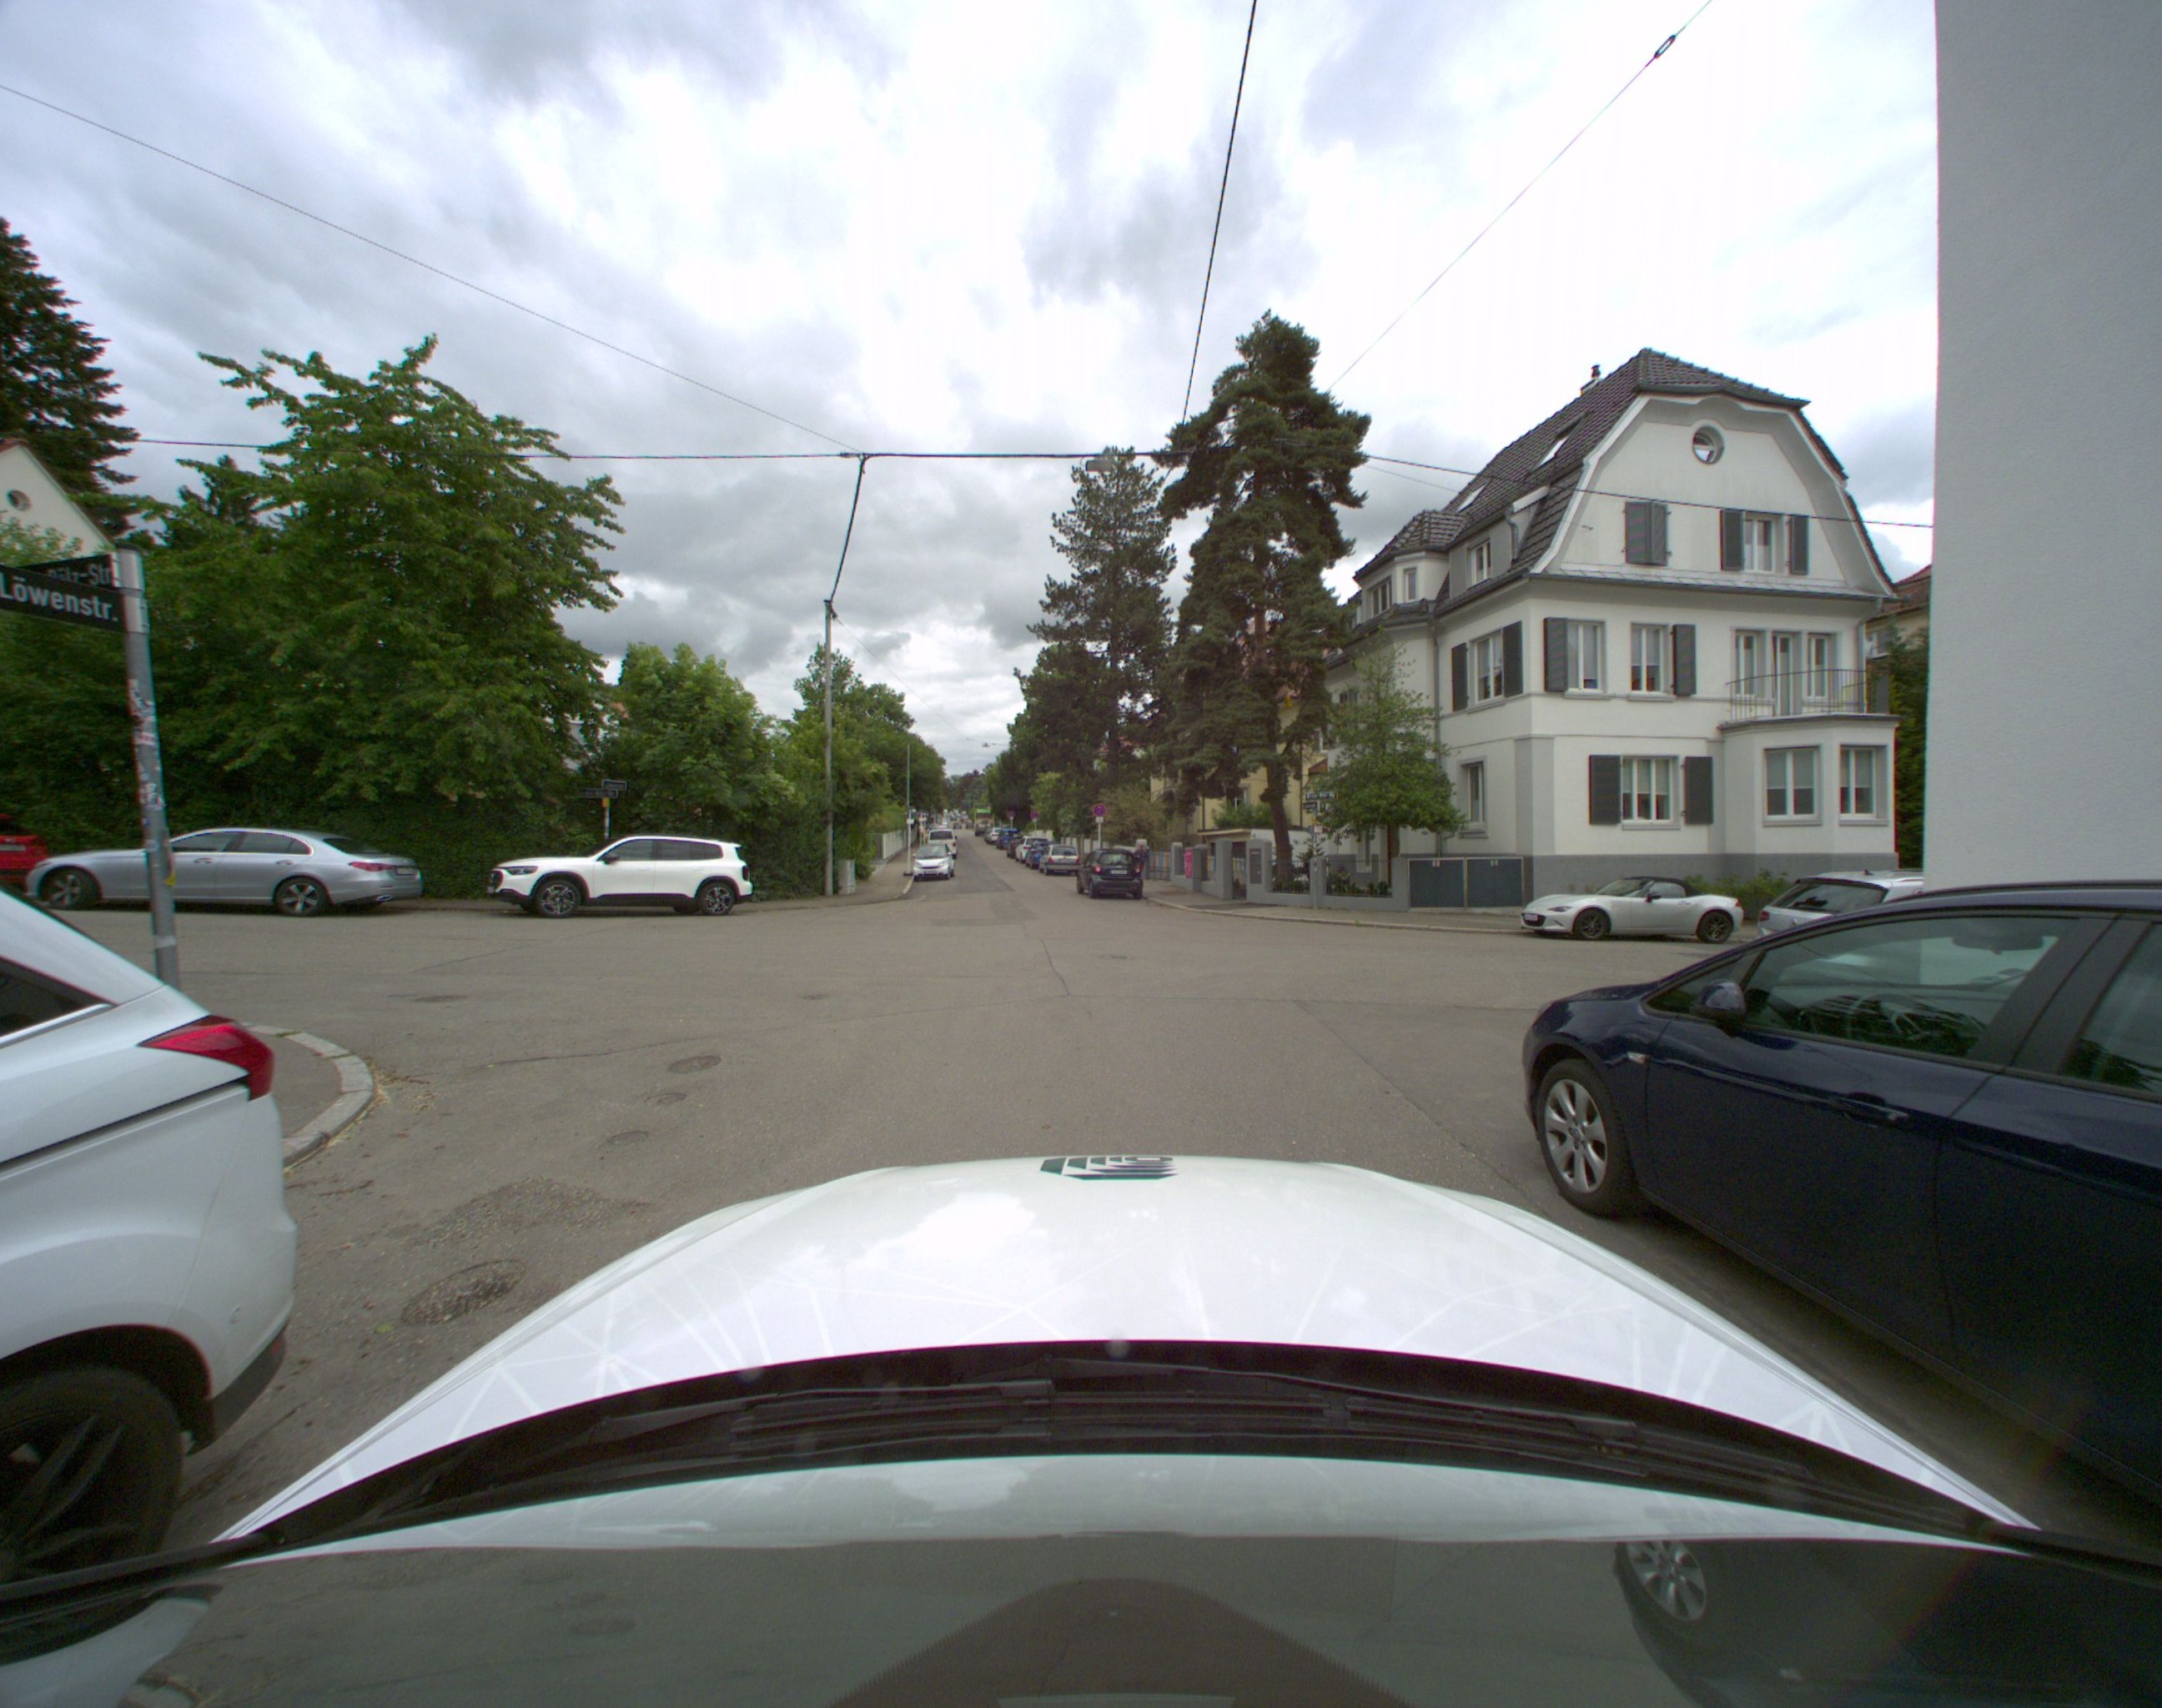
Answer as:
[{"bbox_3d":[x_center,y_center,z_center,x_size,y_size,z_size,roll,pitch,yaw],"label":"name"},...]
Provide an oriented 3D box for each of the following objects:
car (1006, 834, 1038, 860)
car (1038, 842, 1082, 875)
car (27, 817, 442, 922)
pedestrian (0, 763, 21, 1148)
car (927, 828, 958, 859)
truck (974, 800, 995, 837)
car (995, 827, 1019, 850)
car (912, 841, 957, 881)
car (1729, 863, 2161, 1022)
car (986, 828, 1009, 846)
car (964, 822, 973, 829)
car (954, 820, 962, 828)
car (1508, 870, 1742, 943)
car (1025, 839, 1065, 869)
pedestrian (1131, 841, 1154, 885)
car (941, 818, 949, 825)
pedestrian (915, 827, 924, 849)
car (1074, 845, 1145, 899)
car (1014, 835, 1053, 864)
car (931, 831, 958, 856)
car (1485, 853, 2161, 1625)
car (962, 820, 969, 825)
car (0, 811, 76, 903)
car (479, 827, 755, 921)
[{"bbox_3d":[-4.018,-0.501,55.254,1.750,1.607,4.063,2,1,-10],"label":"car"},{"bbox_3d":[-1.044,0.181,38.466,1.573,1.400,3.645,1,2,-9],"label":"car"},{"bbox_3d":[-14.078,0.274,13.909,4.508,1.437,1.825,4,0,-16],"label":"car"},{"bbox_3d":[-5.337,0.459,3.651,0.812,1.759,0.648,2,0,41],"label":"pedestrian"},{"bbox_3d":[-9.232,-0.750,54.551,1.854,1.913,4.605,-3,2,-9],"label":"car"},{"bbox_3d":[-13.062,-4.831,110.252,2.523,4.747,7.167,1,2,-9],"label":"truck"},{"bbox_3d":[-6.335,-1.356,69.536,1.683,1.829,4.143,2,2,-10],"label":"car"},{"bbox_3d":[-6.328,0.273,35.397,1.439,1.552,2.767,-3,2,-3],"label":"car"},{"bbox_3d":[9.943,0.884,8.846,4.327,1.449,1.765,1,1,3],"label":"car"},{"bbox_3d":[-8.247,-1.689,80.149,1.759,1.605,4.556,1,2,-13],"label":"car"},{"bbox_3d":[-24.657,-6.174,178.980,1.779,1.488,3.987,0,2,-11],"label":"car"},{"bbox_3d":[-26.130,-6.314,172.516,1.634,1.700,3.483,0,3,-10],"label":"car"},{"bbox_3d":[10.480,0.994,15.878,3.455,1.261,1.671,1,-2,1],"label":"car"},{"bbox_3d":[-1.972,-0.049,43.355,1.647,1.458,4.039,1,1,-9],"label":"car"},{"bbox_3d":[2.266,0.340,30.253,0.679,1.577,0.905,-3,0,-4],"label":"pedestrian"},{"bbox_3d":[-32.872,-7.804,196.455,1.709,1.585,3.992,0,2,-7],"label":"car"},{"bbox_3d":[-15.109,-1.485,76.348,0.811,2.013,0.857,0,2,-9],"label":"pedestrian"},{"bbox_3d":[0.868,0.532,26.179,1.573,1.531,2.856,2,1,-12],"label":"car"},{"bbox_3d":[-2.924,-0.316,49.535,1.785,1.603,4.289,1,2,-11],"label":"car"},{"bbox_3d":[-10.141,-0.814,60.347,1.792,1.623,4.327,-2,3,-12],"label":"car"},{"bbox_3d":[3.000,0.745,2.096,1.812,1.486,4.286,0,0,0],"label":"car"},{"bbox_3d":[-31.468,-8.518,221.757,1.810,1.335,3.621,1,3,-10],"label":"car"},{"bbox_3d":[-19.152,-0.065,12.918,3.778,1.437,1.627,4,-1,-12],"label":"car"},{"bbox_3d":[-9.306,0.383,16.639,1.812,1.655,4.541,2,0,44],"label":"car"}]
